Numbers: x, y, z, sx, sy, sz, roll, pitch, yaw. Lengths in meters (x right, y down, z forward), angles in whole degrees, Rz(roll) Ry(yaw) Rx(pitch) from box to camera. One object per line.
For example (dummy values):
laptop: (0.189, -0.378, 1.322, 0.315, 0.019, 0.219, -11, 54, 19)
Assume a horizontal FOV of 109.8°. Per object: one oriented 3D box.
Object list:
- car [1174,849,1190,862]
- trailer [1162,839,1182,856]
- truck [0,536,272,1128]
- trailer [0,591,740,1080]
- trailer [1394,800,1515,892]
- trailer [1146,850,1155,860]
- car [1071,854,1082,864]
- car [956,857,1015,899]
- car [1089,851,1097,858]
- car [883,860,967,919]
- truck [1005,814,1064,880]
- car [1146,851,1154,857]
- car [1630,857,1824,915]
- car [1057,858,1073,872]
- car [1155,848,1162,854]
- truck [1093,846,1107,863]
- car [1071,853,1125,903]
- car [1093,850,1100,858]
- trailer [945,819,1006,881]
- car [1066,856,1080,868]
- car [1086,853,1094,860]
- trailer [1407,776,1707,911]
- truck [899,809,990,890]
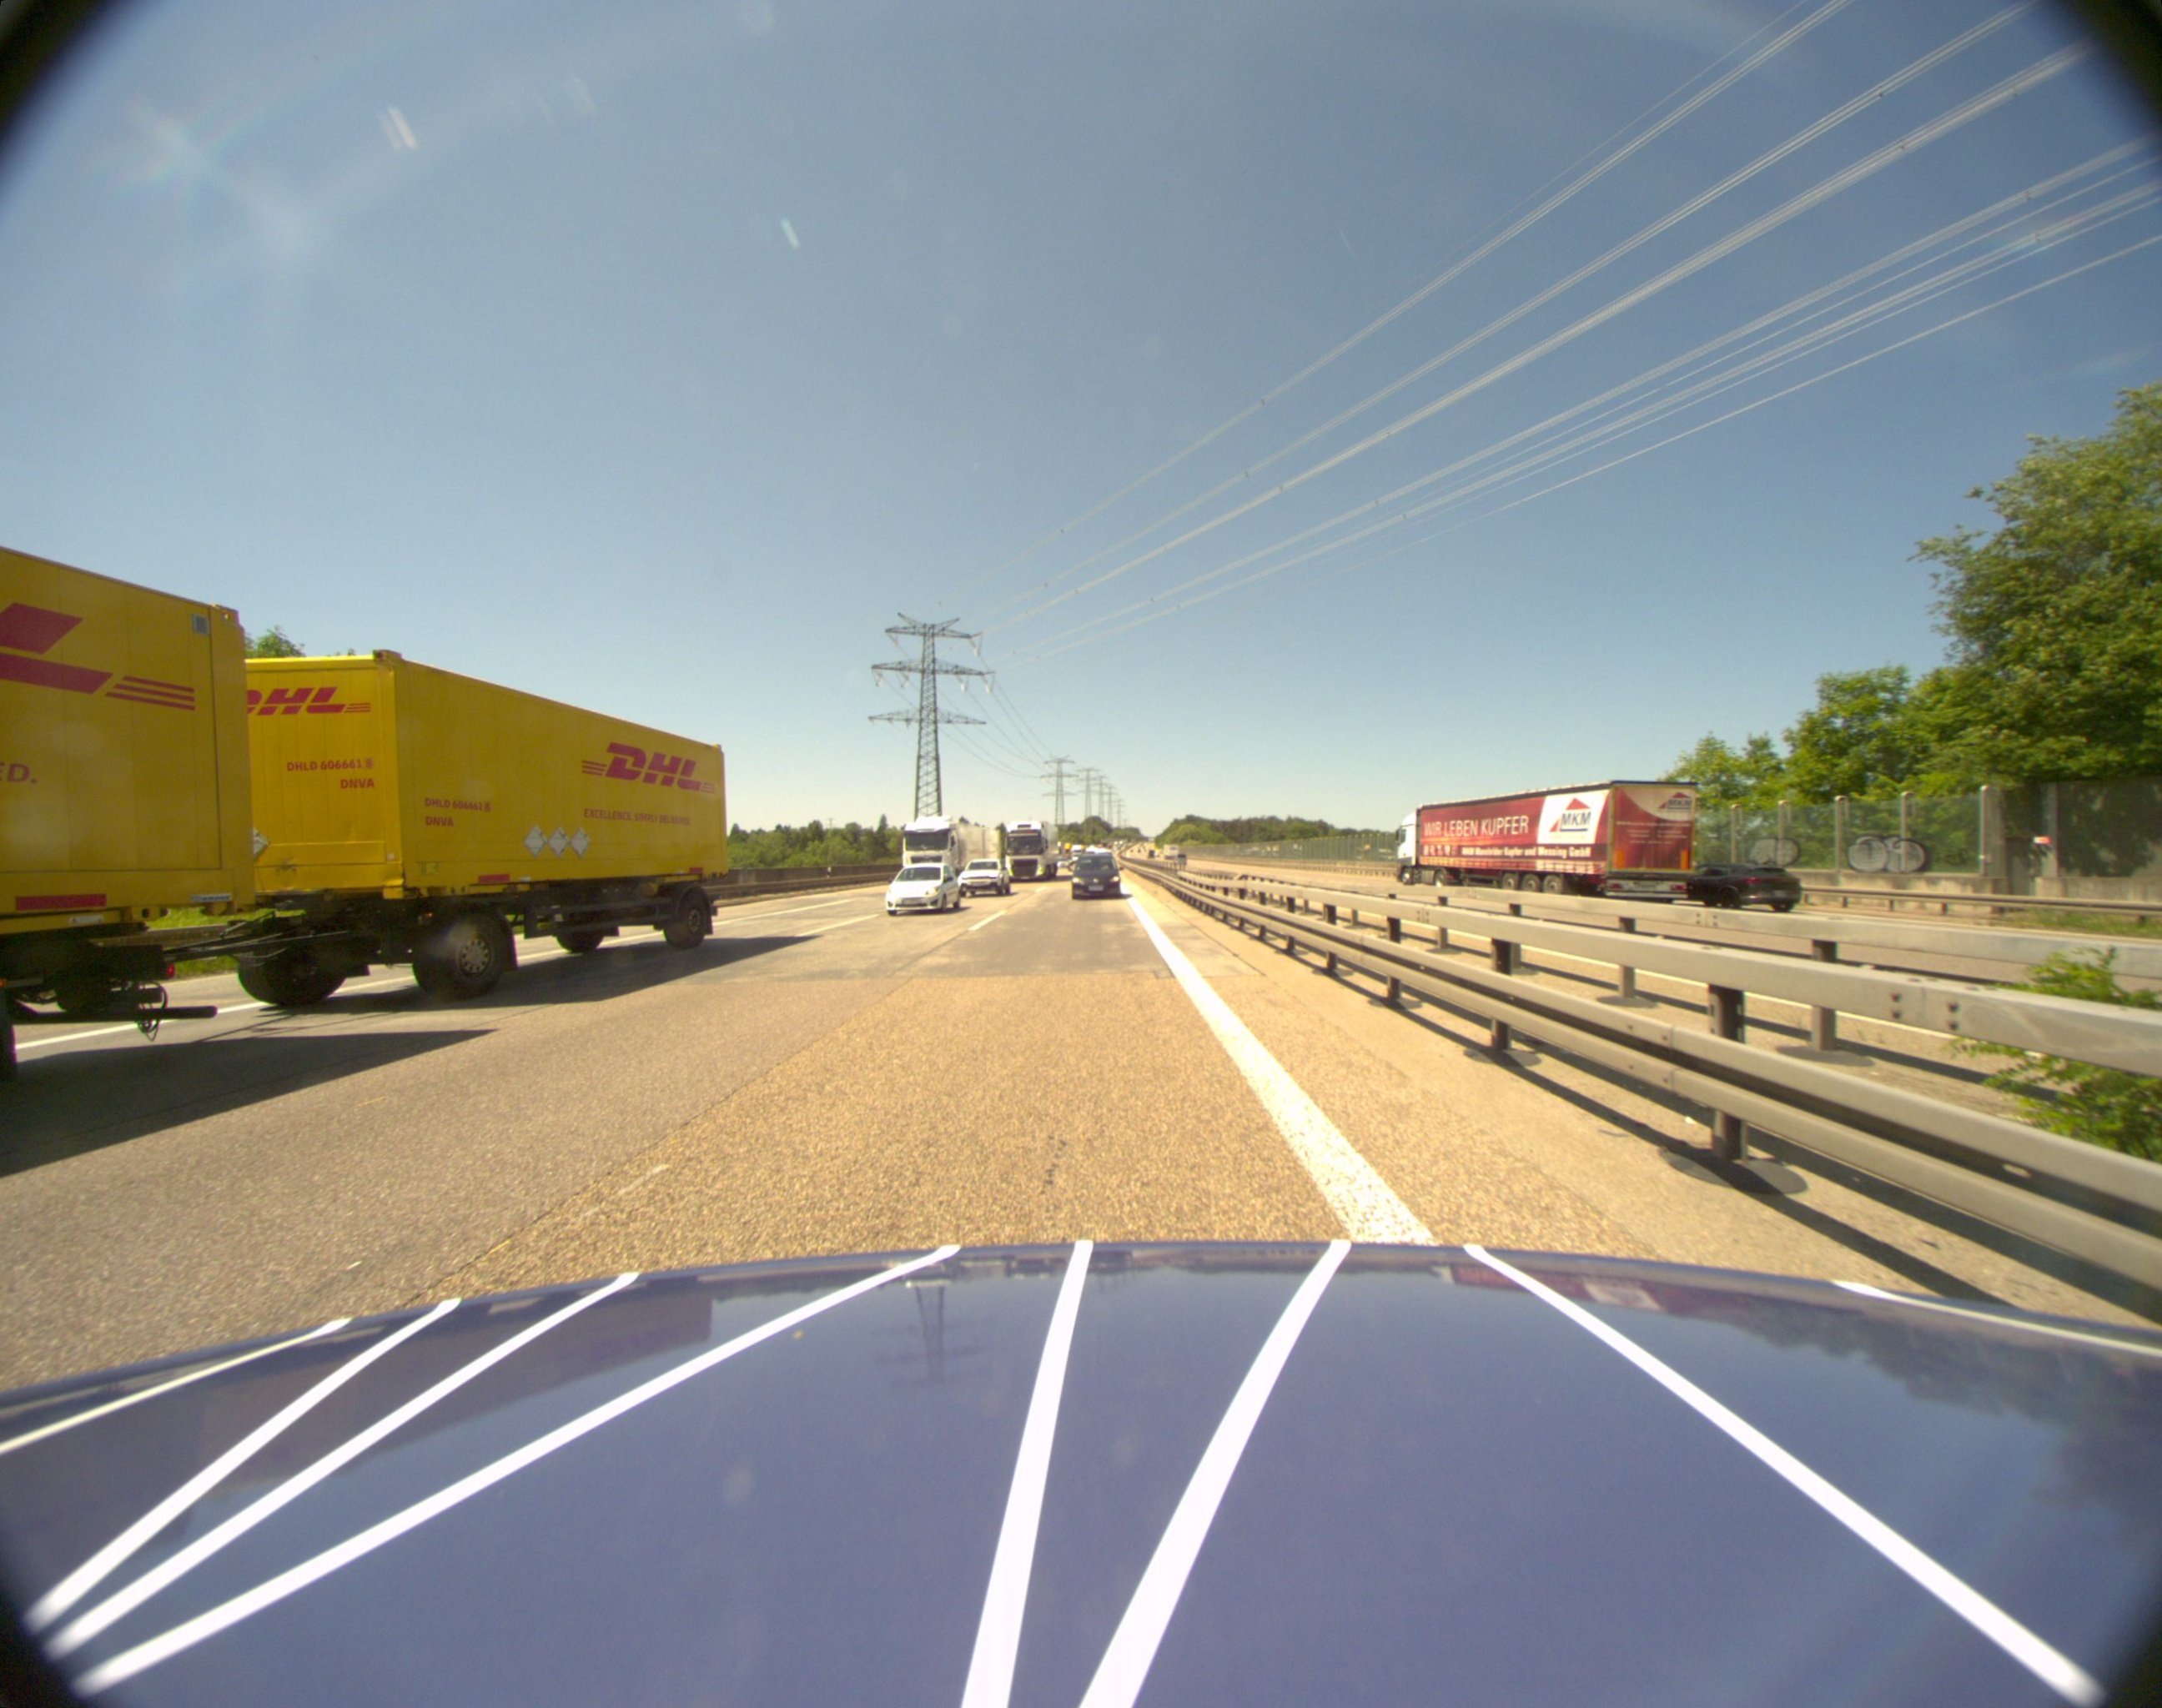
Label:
car: (16.493, 0.223, 124.475, 1.998, 1.929, 4.896, -2, 1, 2)
trailer: (23.628, -1.726, 197.434, 3.998, 4.211, 14.039, 0, 1, 2)
truck: (-8.900, -0.142, 1.916, 2.772, 4.085, 9.954, -2, 0, 1)
trailer: (-8.678, -0.101, 11.167, 2.772, 4.093, 9.378, -2, 0, 1)
trailer: (17.447, -0.315, 36.022, 2.763, 3.953, 6.132, 1, 0, 1)
trailer: (20.116, 0.312, 218.901, 2.171, 2.761, 5.376, 2, 1, 2)
car: (-0.809, 0.912, 136.424, 1.821, 1.569, 4.000, -2, 1, 1)
car: (-3.929, 0.943, 31.879, 1.776, 1.521, 3.852, -2, 1, 2)
car: (3.145, 0.076, 196.948, 1.821, 1.569, 4.000, -2, 1, 1)
car: (-4.629, 1.017, 23.067, 1.659, 1.501, 3.825, -2, 1, 1)
truck: (-3.086, -0.436, 54.893, 2.717, 4.015, 14.257, -2, 0, 2)
car: (20.265, 0.044, 223.727, 1.875, 1.616, 4.628, 0, 1, 2)
car: (21.069, 0.960, 25.170, 1.998, 1.567, 5.275, 2, 1, 2)
car: (-2.072, 1.390, 98.499, 1.821, 1.569, 4.000, -2, 1, 1)
car: (26.879, -1.120, 263.556, 1.998, 1.929, 5.275, -2, 1, 2)
truck: (3.379, 0.103, 132.865, 2.309, 2.789, 5.110, -2, 1, 2)
car: (0.642, 0.808, 27.480, 1.748, 1.569, 4.000, -2, 1, 2)
car: (4.410, 0.000, 217.267, 1.998, 2.002, 4.000, -2, 1, 1)
trailer: (-7.196, -0.263, 52.951, 2.752, 3.918, 7.774, -2, 0, 2)
car: (-1.204, 1.175, 114.540, 1.821, 1.569, 4.000, -2, 1, 1)
car: (2.083, 0.603, 181.288, 1.821, 1.569, 4.000, -2, 1, 1)
trailer: (17.241, -0.275, 29.836, 2.770, 3.952, 14.682, 1, 0, 1)
truck: (-7.450, -0.223, 43.402, 2.695, 3.907, 11.297, -2, 0, 2)
